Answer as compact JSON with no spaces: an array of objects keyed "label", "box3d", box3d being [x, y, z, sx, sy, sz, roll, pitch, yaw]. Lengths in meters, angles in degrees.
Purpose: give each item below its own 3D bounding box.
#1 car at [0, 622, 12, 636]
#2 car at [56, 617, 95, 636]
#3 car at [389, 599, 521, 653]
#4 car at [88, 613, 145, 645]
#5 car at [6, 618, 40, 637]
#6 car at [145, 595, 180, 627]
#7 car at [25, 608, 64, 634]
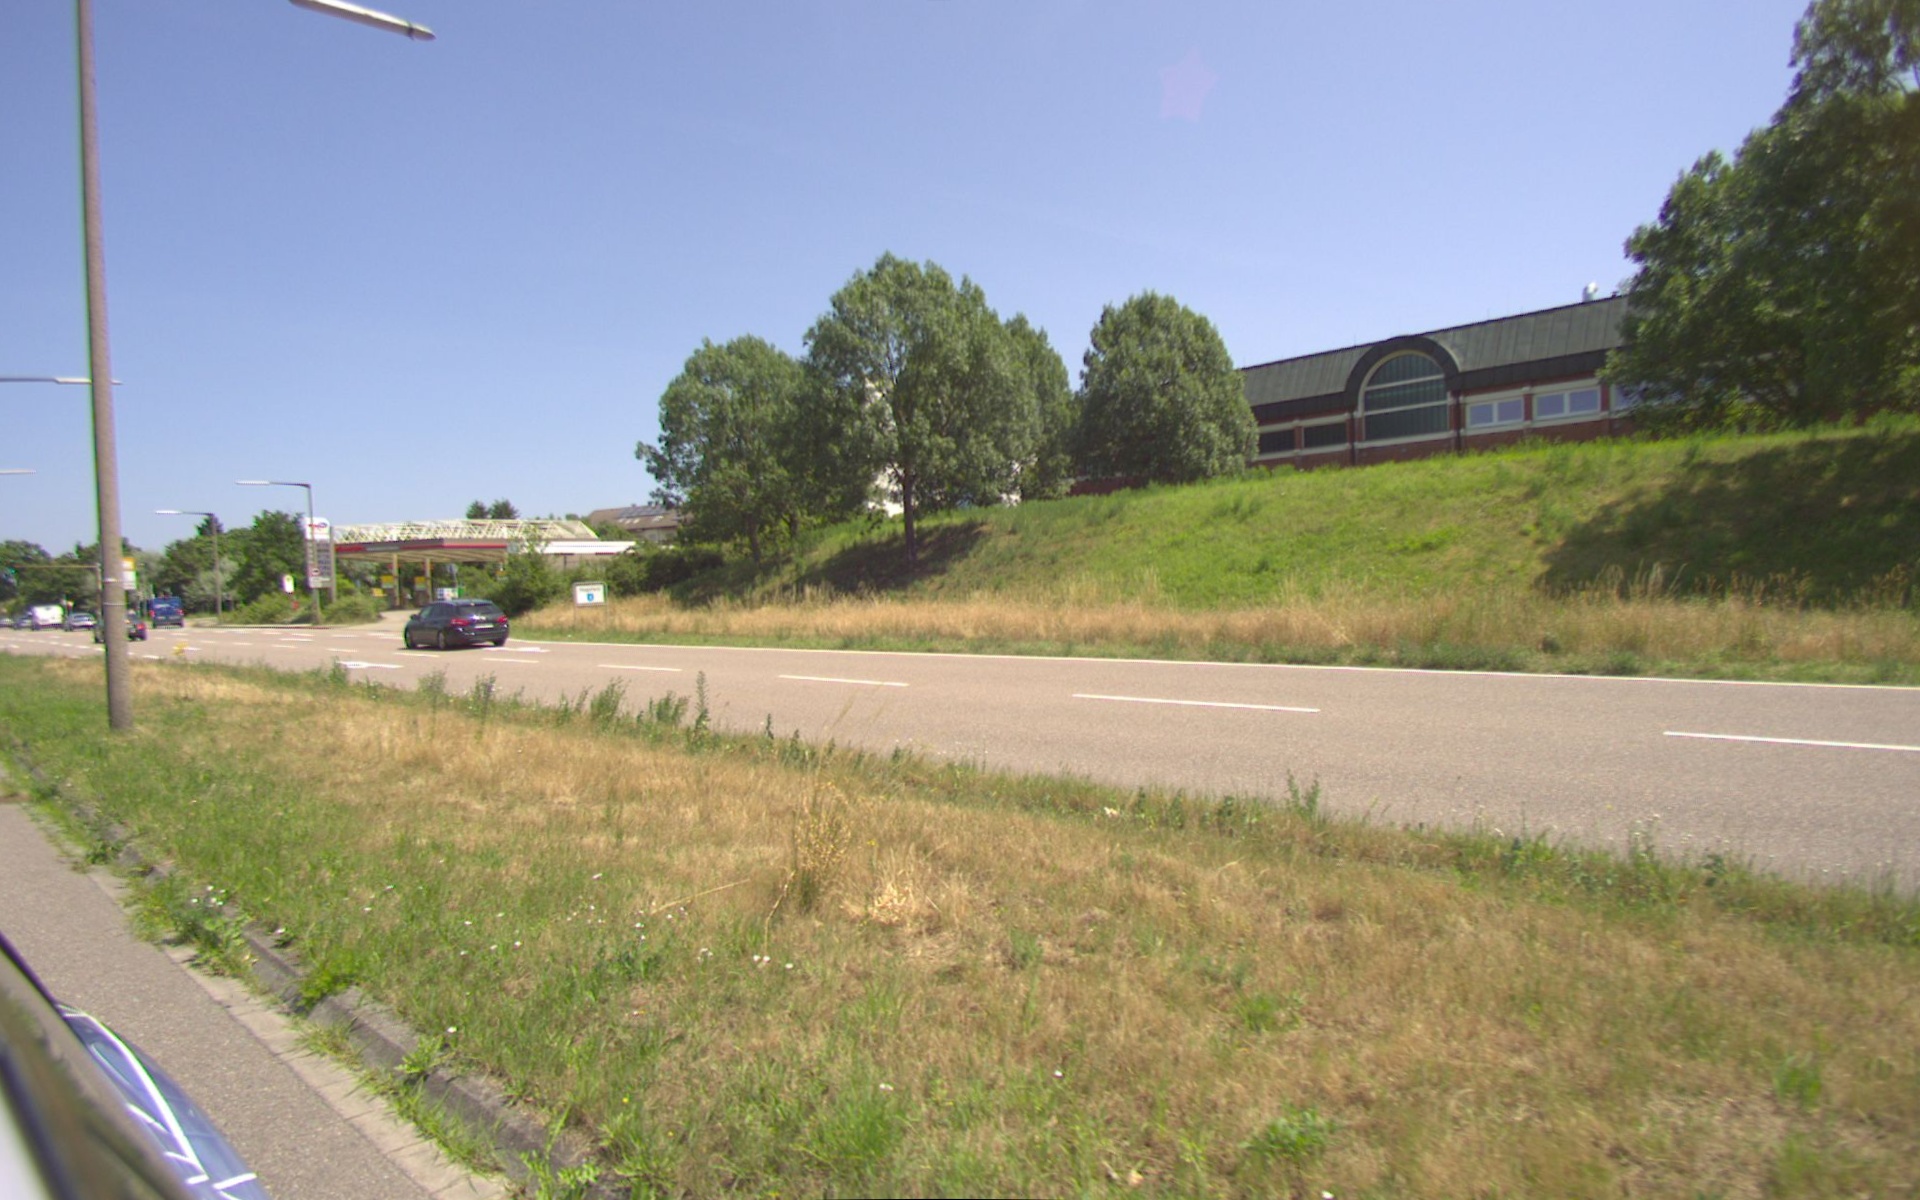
[{"label":"car","box3d":[-116.251,3.526,122.497,3.997,1.550,1.642,-2,4,40]},{"label":"car","box3d":[-75.447,2.254,86.310,4.849,1.460,1.812,-2,1,41]},{"label":"car","box3d":[-15.229,0.766,30.401,4.666,1.370,1.972,-2,2,43]},{"label":"car","box3d":[-43.427,1.505,52.072,3.999,1.503,1.674,-2,1,42]},{"label":"car","box3d":[-100.193,2.933,108.205,5.017,1.762,1.946,-1,4,40]},{"label":"car","box3d":[-66.006,0.930,83.779,2.146,2.429,5.682,-4,1,-38]},{"label":"car","box3d":[-89.068,2.064,98.460,5.448,2.289,2.225,-1,3,43]}]
